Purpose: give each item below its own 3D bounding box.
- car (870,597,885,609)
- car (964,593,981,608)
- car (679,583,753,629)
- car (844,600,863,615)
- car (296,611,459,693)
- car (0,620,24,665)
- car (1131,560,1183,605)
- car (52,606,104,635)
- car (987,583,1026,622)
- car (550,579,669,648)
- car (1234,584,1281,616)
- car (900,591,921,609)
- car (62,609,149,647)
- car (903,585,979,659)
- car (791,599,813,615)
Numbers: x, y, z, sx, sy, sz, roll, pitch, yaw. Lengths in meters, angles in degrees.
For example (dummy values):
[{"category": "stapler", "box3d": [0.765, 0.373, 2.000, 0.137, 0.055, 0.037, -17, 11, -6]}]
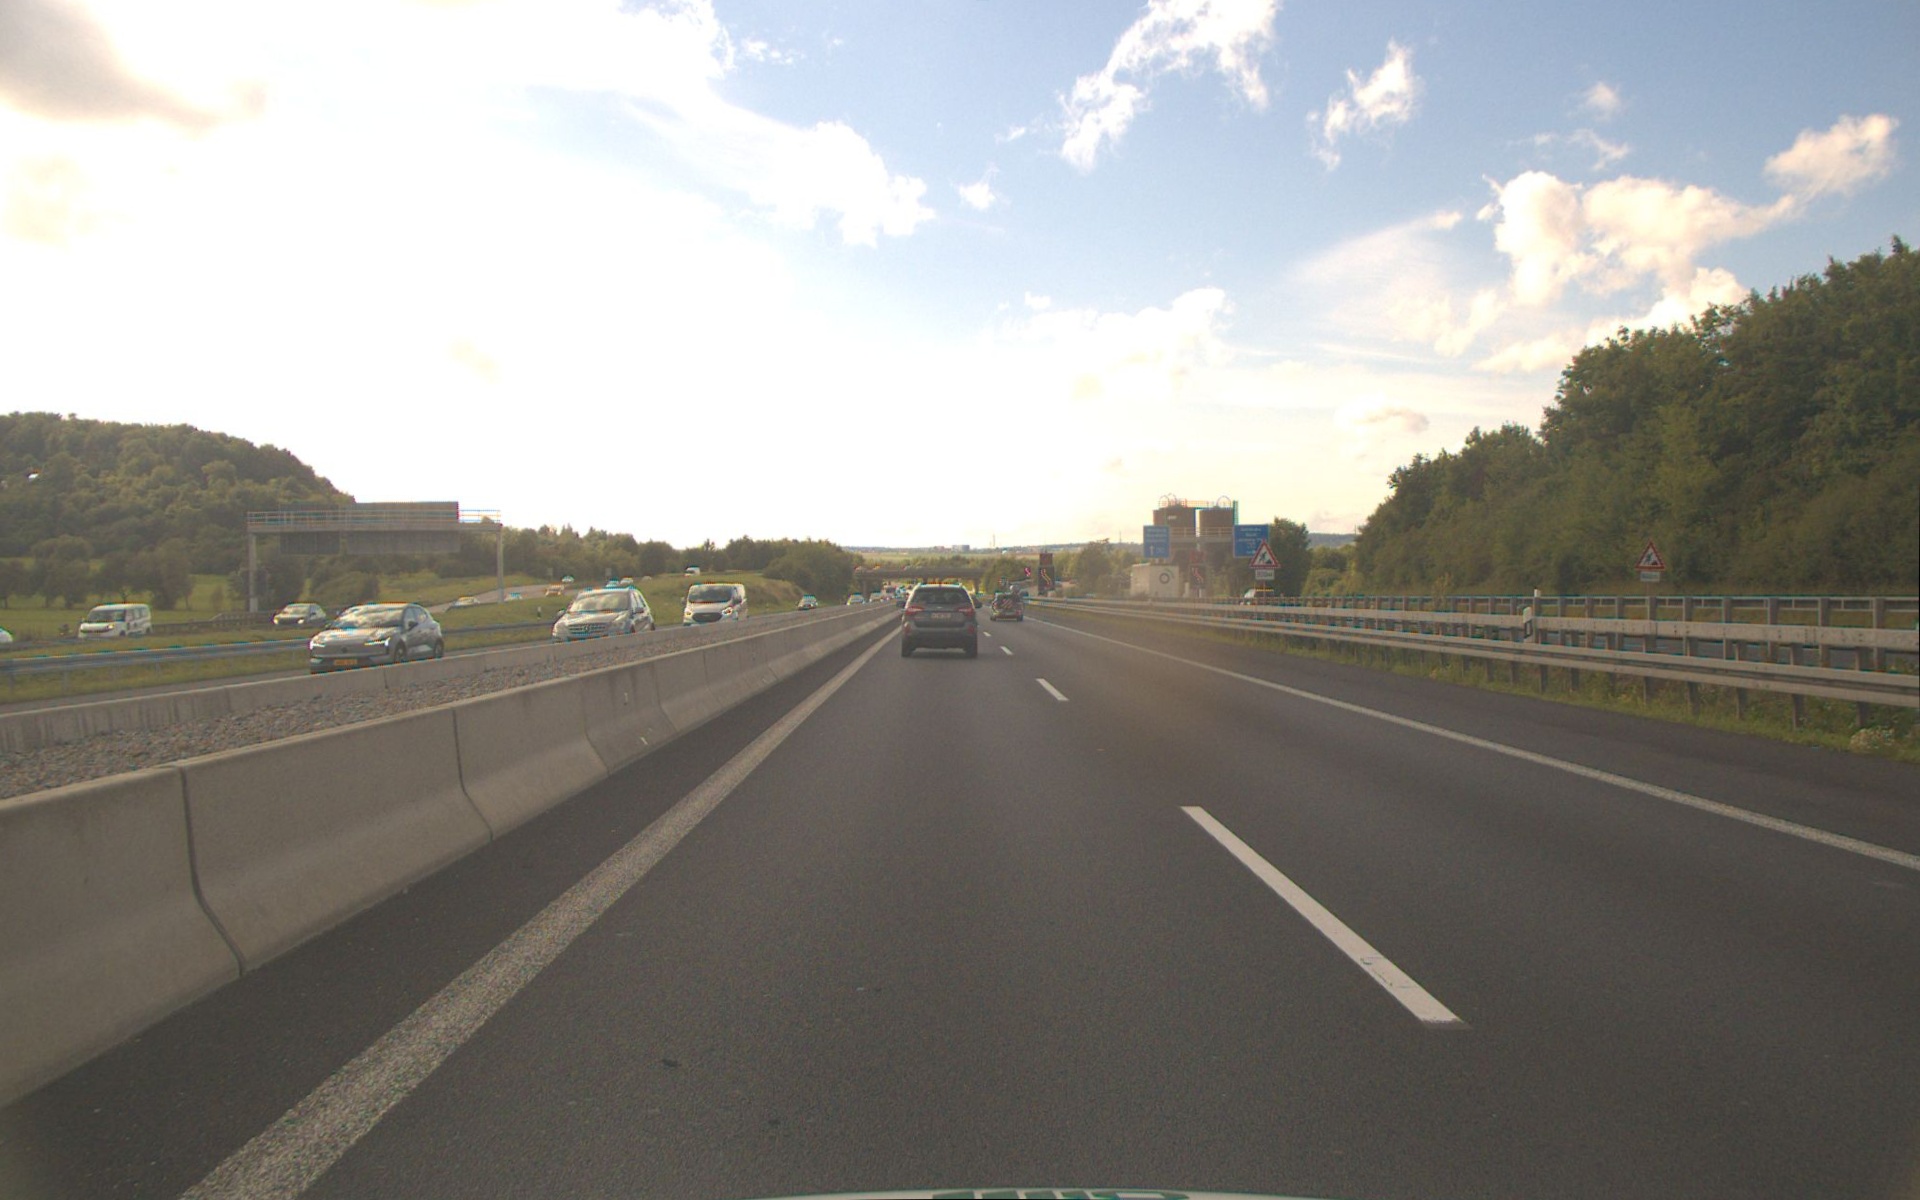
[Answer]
[{"category": "car", "box3d": [-10.666, 0.354, 214.320, 1.751, 1.422, 4.724, -2, 0, -1]}, {"category": "car", "box3d": [1.559, 0.092, 204.538, 1.935, 1.810, 4.119, -2, 0, -1]}, {"category": "car", "box3d": [-9.032, 0.209, 61.607, 1.953, 1.559, 5.746, -2, 0, -1]}, {"category": "car", "box3d": [-10.633, 0.698, 165.442, 1.608, 1.422, 3.741, -2, 0, -1]}, {"category": "car", "box3d": [-12.510, 1.063, 35.814, 1.953, 1.559, 4.506, -2, 0, -1]}, {"category": "car", "box3d": [-31.607, 1.398, 52.576, 1.739, 1.425, 4.390, -2, 0, -9]}, {"category": "car", "box3d": [17.112, -1.480, 144.237, 3.504, 3.741, 7.547, -2, 0, -1]}, {"category": "car", "box3d": [-66.337, 1.546, 124.440, 1.954, 2.049, 3.996, -2, 0, -4]}, {"category": "car", "box3d": [2.619, 0.126, 93.989, 1.953, 2.117, 3.999, -2, 0, -1]}, {"category": "car", "box3d": [-8.700, 0.321, 41.509, 1.953, 1.559, 5.020, -2, 0, -1]}, {"category": "car", "box3d": [17.283, 0.008, 96.180, 1.953, 1.747, 3.999, -2, 0, -1]}, {"category": "car", "box3d": [-5.498, 0.024, 183.955, 2.124, 1.875, 4.000, -2, 0, 1]}, {"category": "car", "box3d": [-38.045, 1.221, 73.765, 1.738, 1.575, 4.883, -2, 0, -6]}, {"category": "car", "box3d": [-0.416, 0.505, 40.326, 1.714, 1.659, 3.609, -2, 0, 1]}, {"category": "car", "box3d": [-15.317, 0.669, 160.640, 1.692, 1.422, 4.157, -2, 0, -1]}]
